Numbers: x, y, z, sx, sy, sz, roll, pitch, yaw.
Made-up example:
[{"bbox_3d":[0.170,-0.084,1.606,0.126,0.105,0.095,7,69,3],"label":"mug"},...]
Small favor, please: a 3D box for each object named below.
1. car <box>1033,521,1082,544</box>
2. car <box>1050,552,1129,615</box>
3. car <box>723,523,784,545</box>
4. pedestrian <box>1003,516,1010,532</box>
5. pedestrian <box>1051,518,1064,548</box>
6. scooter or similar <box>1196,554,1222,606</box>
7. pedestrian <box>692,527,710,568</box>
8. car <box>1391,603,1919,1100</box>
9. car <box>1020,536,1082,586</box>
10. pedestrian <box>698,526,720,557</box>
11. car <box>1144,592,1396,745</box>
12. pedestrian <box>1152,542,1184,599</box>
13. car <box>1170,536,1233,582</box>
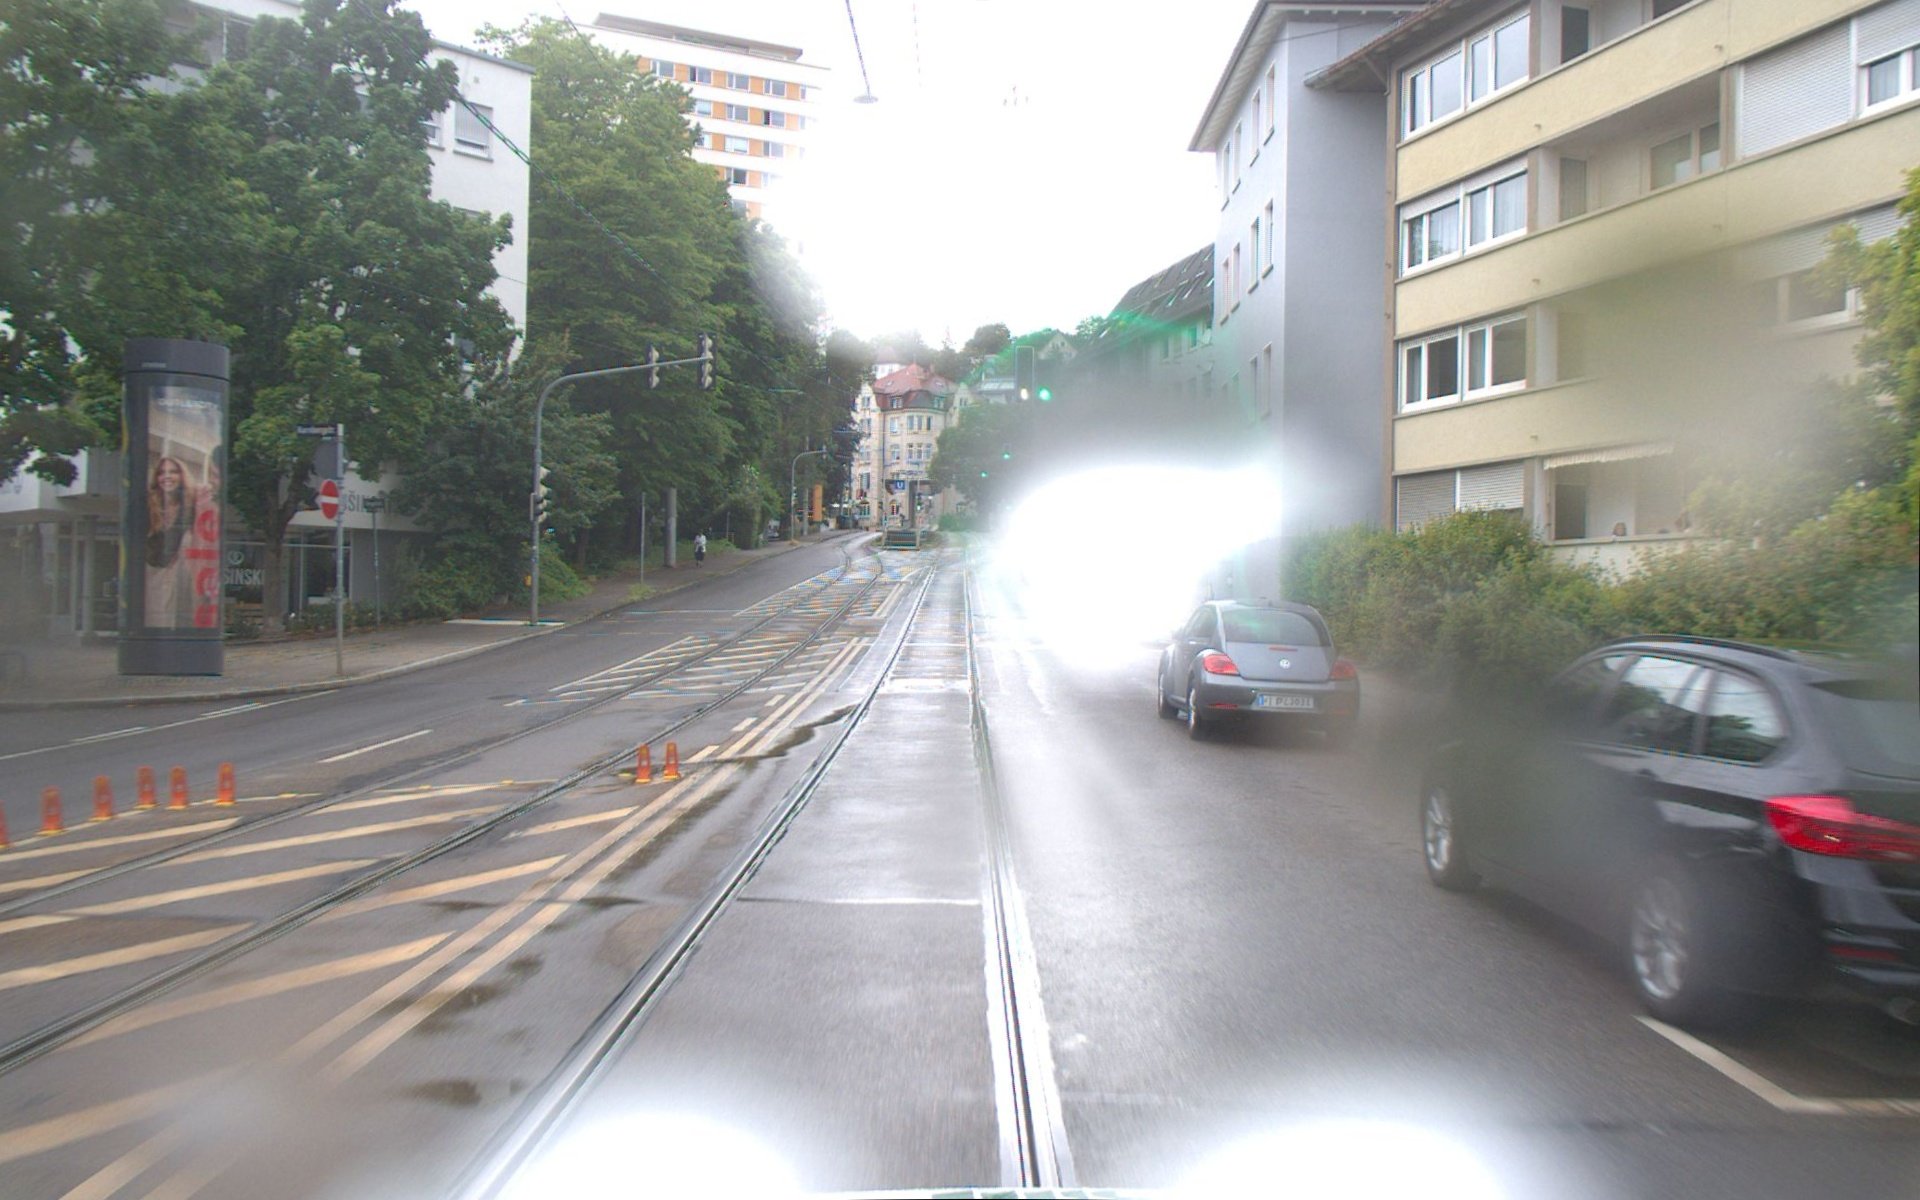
[{"bbox_3d":[8.055,-5.555,136.663,3.906,1.674,1.807,2,0,-1],"label":"car"},{"bbox_3d":[3.380,-0.479,43.770,1.670,1.458,4.102,2,2,-1],"label":"car"},{"bbox_3d":[-14.483,-4.635,115.960,3.906,1.430,1.682,1,-1,23],"label":"car"},{"bbox_3d":[4.554,-7.494,163.215,0.567,1.492,0.543,2,-1,-8],"label":"pedestrian"},{"bbox_3d":[5.534,-3.790,93.870,0.630,1.657,0.700,1,1,11],"label":"pedestrian"},{"bbox_3d":[6.680,-0.553,44.452,0.562,1.270,1.612,2,5,5],"label":"scooter or similar"},{"bbox_3d":[-10.688,-2.168,68.200,0.571,1.628,0.869,3,1,-4],"label":"pedestrian"},{"bbox_3d":[3.540,0.815,7.511,1.820,1.513,4.644,2,0,-1],"label":"car"},{"bbox_3d":[3.254,-1.456,60.087,1.868,1.670,4.690,2,2,-1],"label":"car"},{"bbox_3d":[-14.100,-3.270,92.932,0.898,1.707,0.739,1,-2,28],"label":"pedestrian"},{"bbox_3d":[3.369,0.686,18.813,1.901,1.489,4.204,2,0,-2],"label":"car"},{"bbox_3d":[6.001,-0.852,47.720,0.864,1.610,0.802,0,4,2],"label":"pedestrian"},{"bbox_3d":[9.104,-1.521,62.583,1.685,1.541,4.203,2,-1,-1],"label":"car"}]
